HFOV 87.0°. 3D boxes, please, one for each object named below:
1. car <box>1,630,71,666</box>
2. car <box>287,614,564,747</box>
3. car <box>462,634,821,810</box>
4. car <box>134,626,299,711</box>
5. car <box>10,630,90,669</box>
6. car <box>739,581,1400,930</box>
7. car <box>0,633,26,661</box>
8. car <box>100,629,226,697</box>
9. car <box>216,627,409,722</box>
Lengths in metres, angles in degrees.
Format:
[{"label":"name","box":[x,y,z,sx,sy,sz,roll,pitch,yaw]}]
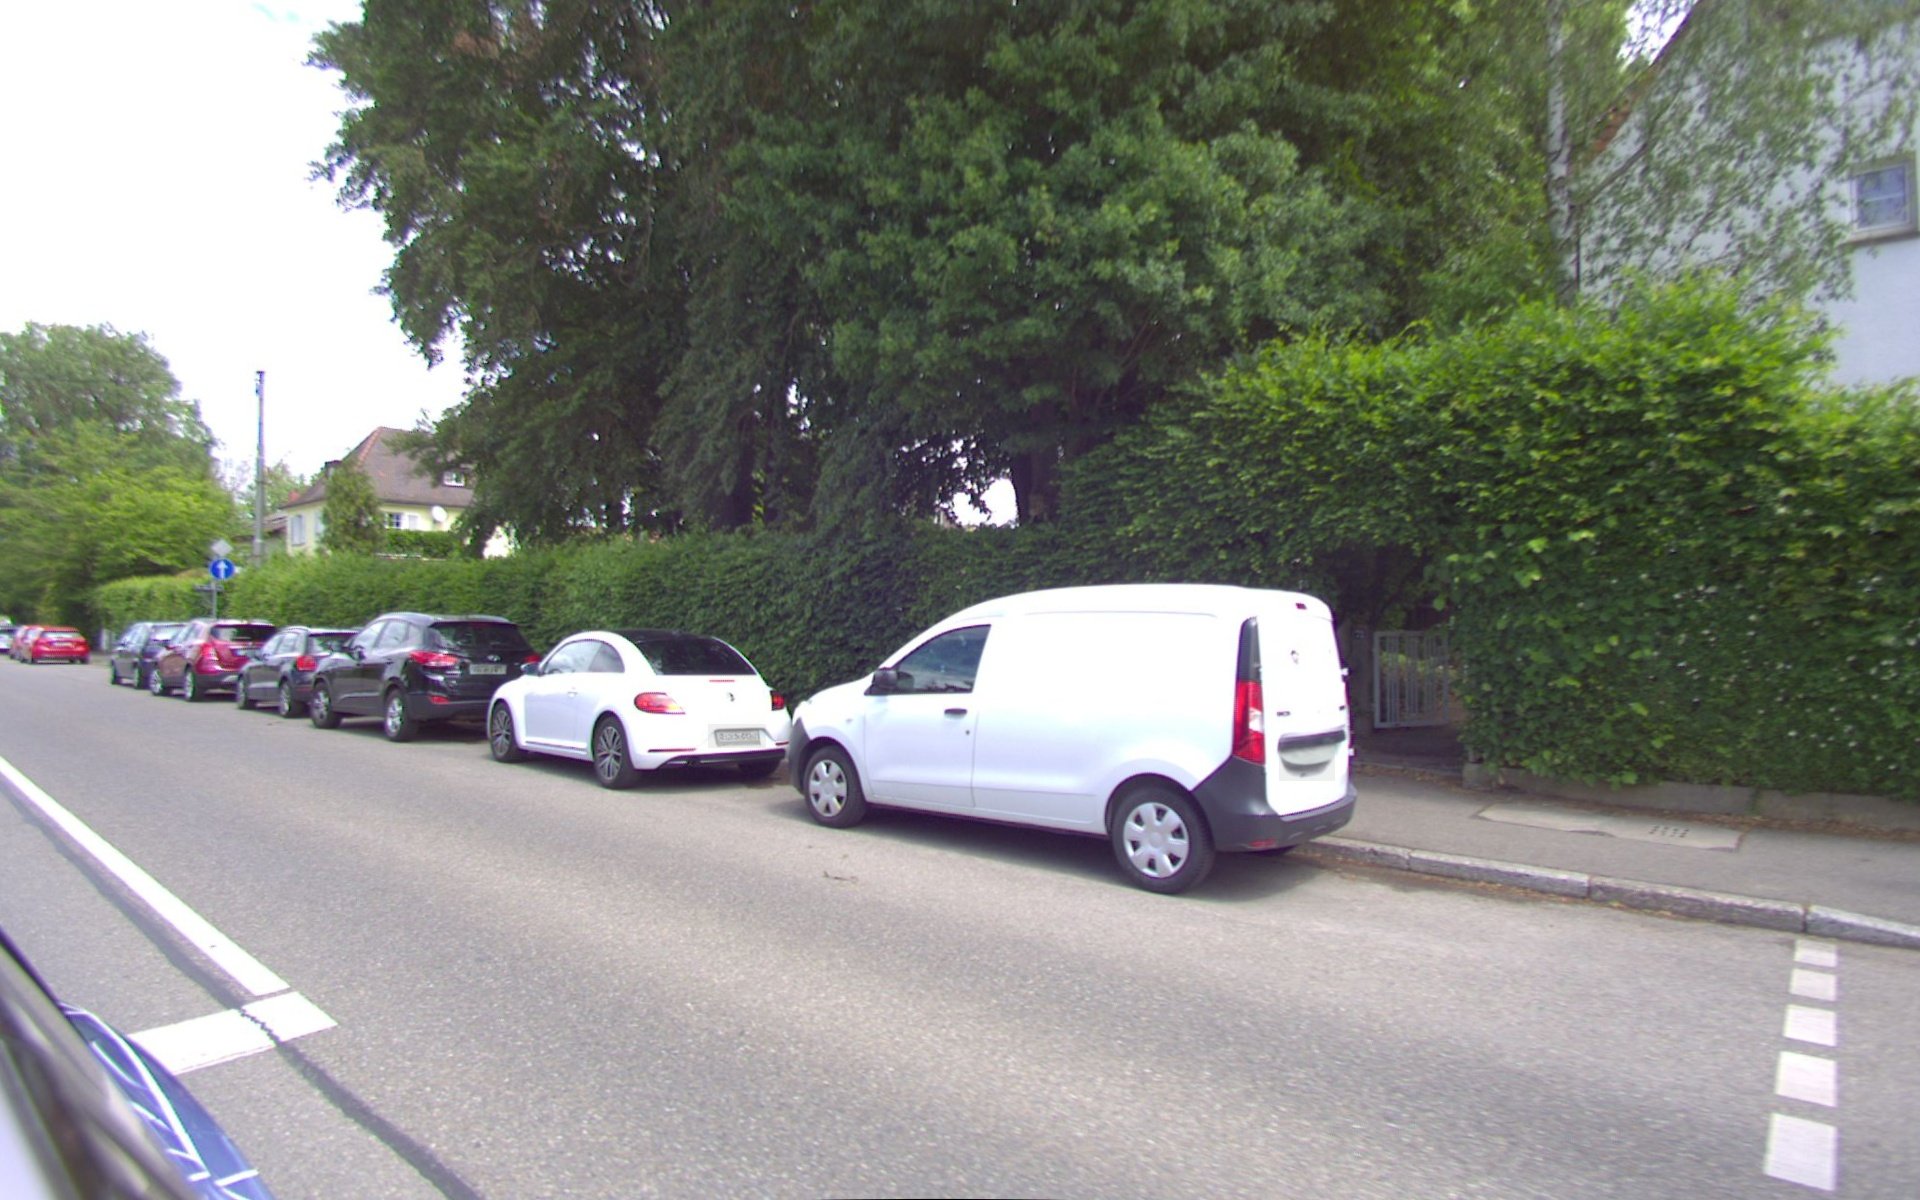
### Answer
[{"label":"car","box":[-40.470,2.074,44.297,3.746,1.461,1.829,-2,-2,41]},{"label":"car","box":[-7.735,1.039,14.454,4.639,1.606,1.877,-2,-2,40]},{"label":"car","box":[-3.489,1.122,10.593,4.359,1.464,1.685,-2,-5,44]},{"label":"car","box":[-15.864,1.379,21.516,4.412,1.623,1.772,-2,-2,39]},{"label":"car","box":[-35.650,1.902,39.620,4.065,1.413,1.945,-2,-2,42]},{"label":"car","box":[0.517,0.875,7.308,4.604,1.772,1.659,-2,-4,40]},{"label":"car","box":[-49.854,2.438,52.741,1.652,1.381,3.609,3,-4,-43]},{"label":"car","box":[-19.922,1.510,25.239,4.326,1.546,1.738,-2,-3,42]},{"label":"car","box":[-11.538,1.234,17.926,4.234,1.470,1.715,-2,-2,40]}]
